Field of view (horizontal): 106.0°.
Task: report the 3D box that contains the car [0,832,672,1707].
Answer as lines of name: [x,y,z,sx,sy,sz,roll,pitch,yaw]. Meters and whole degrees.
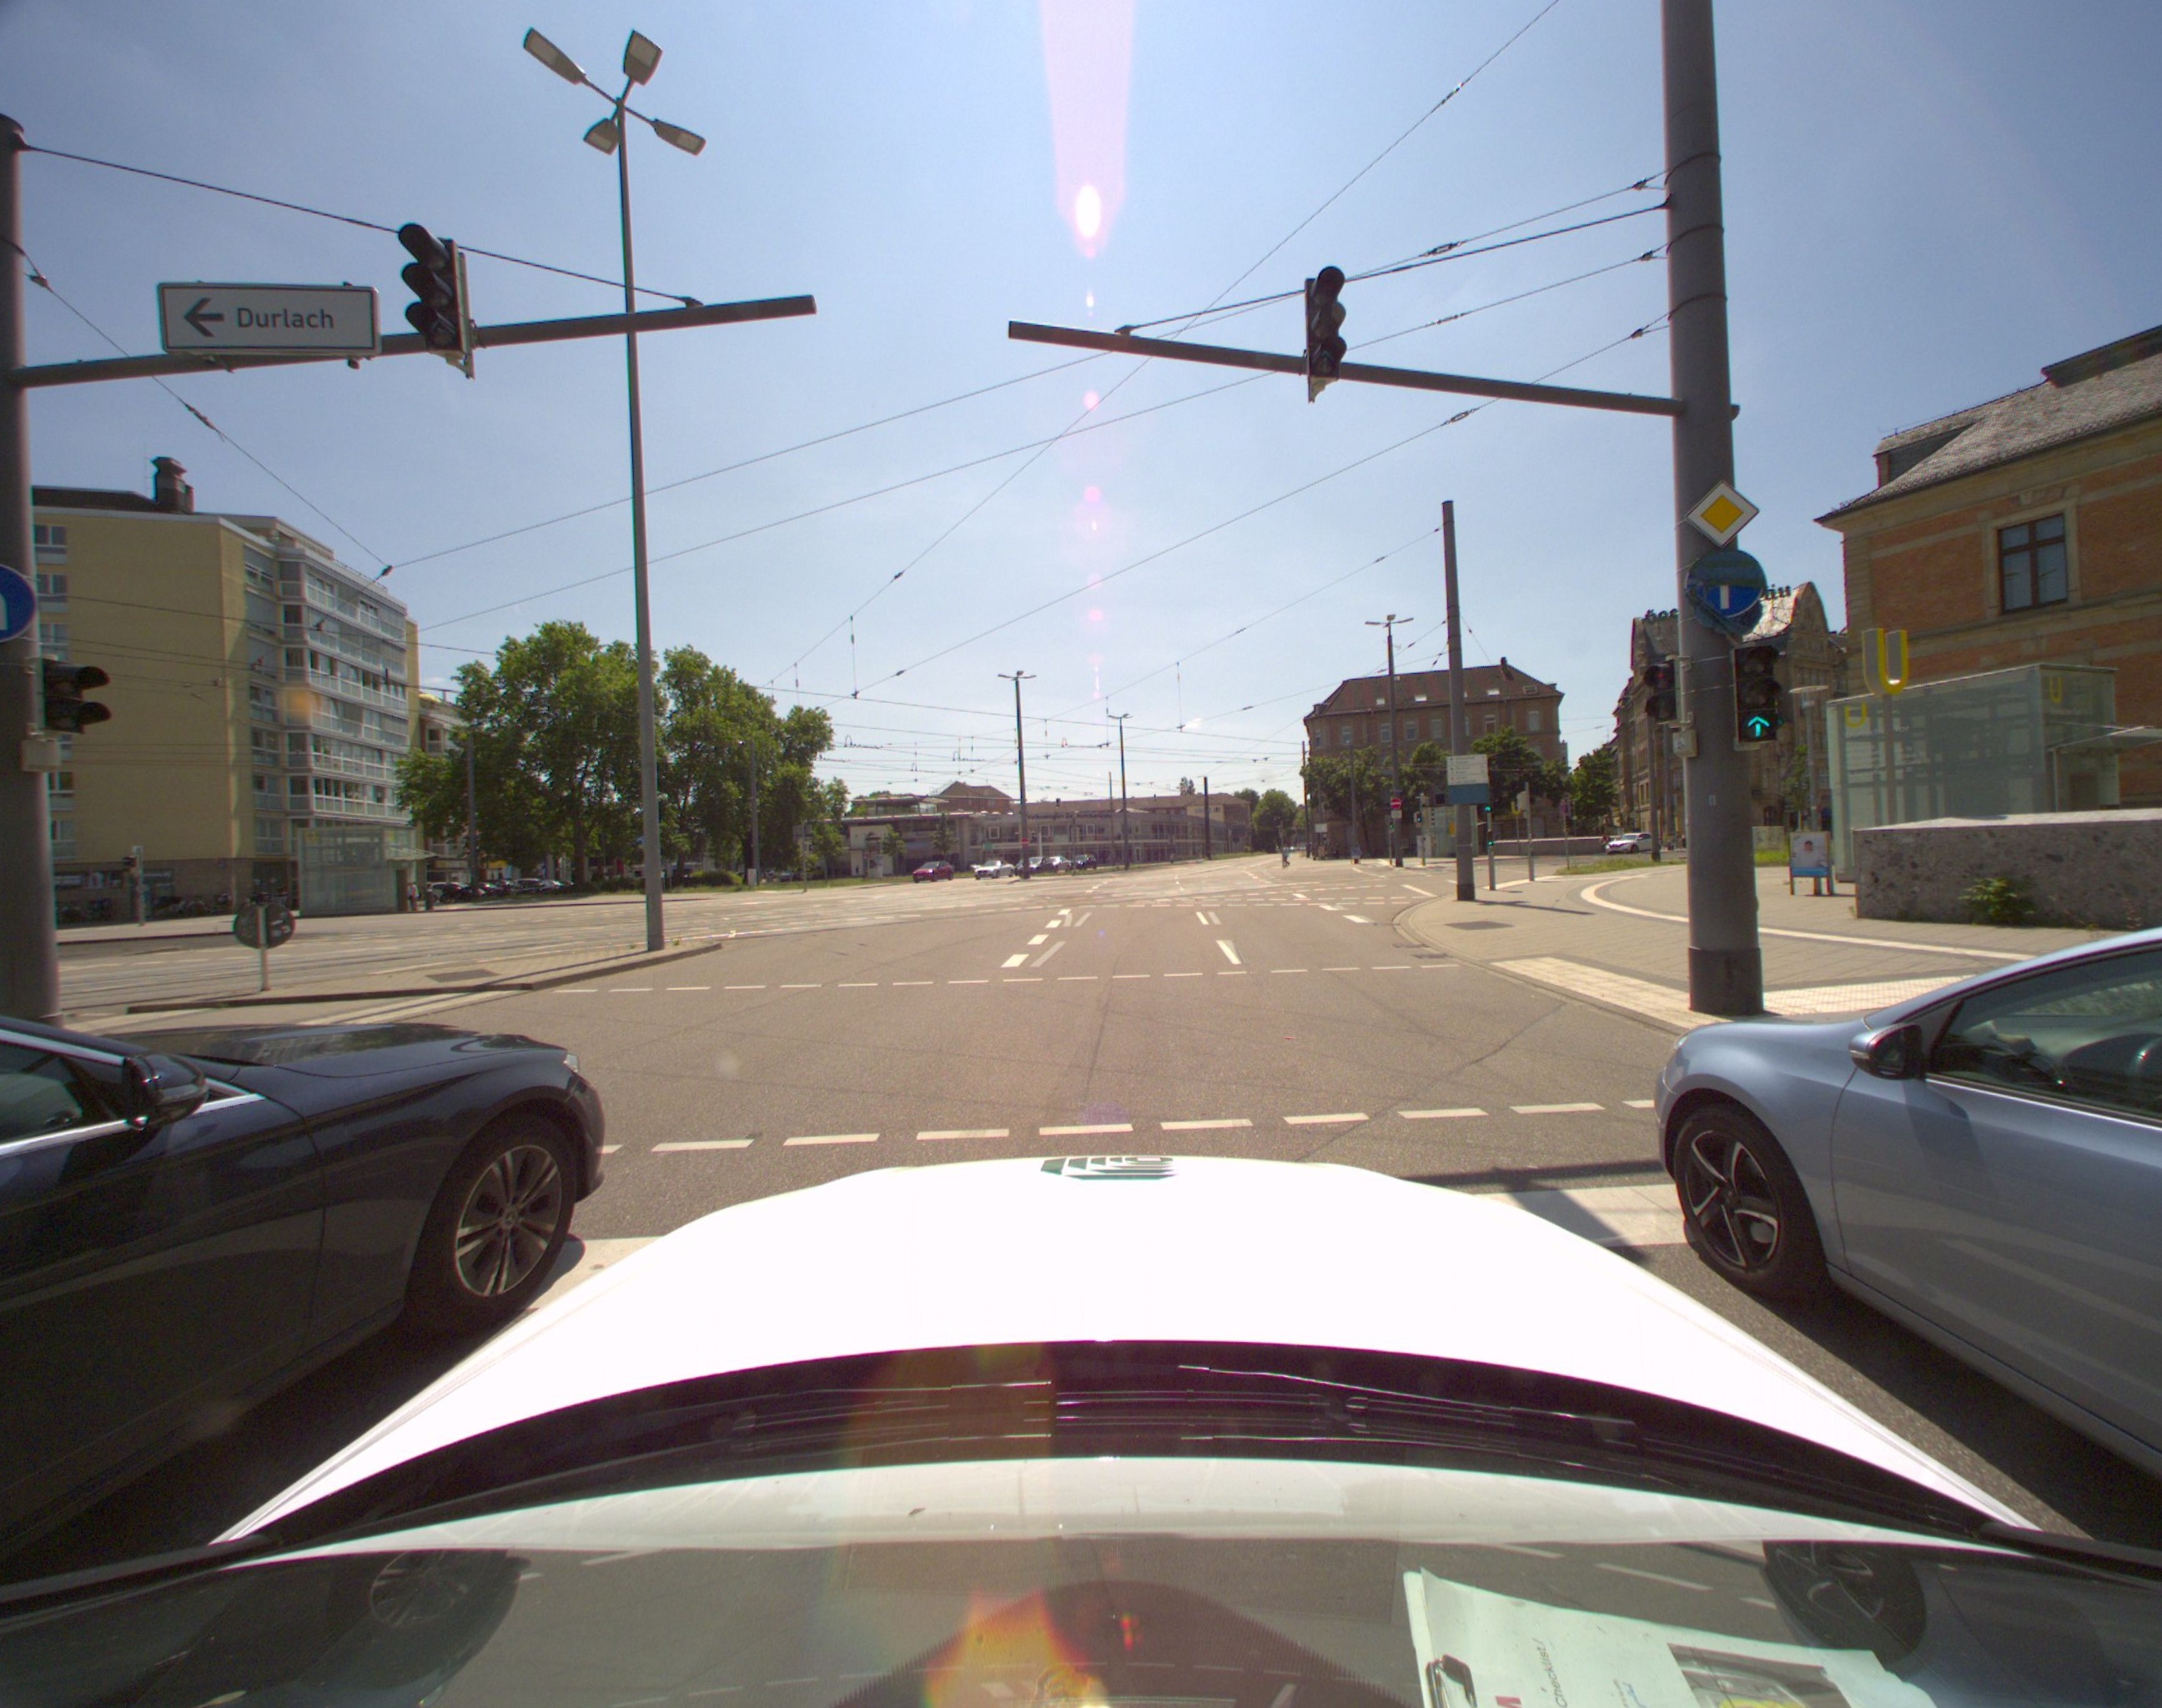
car: [-2.826,0.794,1.182,1.790,1.640,4.809,-1,0,3]

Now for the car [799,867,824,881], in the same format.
car: [-33.573,2.471,101.420,1.762,1.510,4.323,-2,0,-2]

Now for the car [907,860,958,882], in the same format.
car: [-11.713,1.319,64.617,1.978,1.465,4.867,-2,0,16]

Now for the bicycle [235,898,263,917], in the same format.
bicycle: [-48.634,3.134,47.632,0.432,1.026,1.437,-2,0,-13]

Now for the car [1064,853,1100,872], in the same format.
car: [0.132,0.847,82.143,2.061,1.682,4.870,-2,0,20]

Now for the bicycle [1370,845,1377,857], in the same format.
bicycle: [27.466,-0.270,76.600,0.546,1.120,1.829,-2,0,19]

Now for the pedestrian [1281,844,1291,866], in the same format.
pedestrian: [15.880,0.088,63.155,0.462,1.708,0.636,-2,0,-18]

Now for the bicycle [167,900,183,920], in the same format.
bicycle: [-50.612,3.114,45.495,0.435,1.026,1.426,-2,0,-41]

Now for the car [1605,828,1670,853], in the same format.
car: [39.498,-0.941,57.808,4.196,1.605,1.682,-2,0,-22]

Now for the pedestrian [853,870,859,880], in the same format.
pedestrian: [-26.891,2.480,97.448,0.510,1.204,0.446,-2,0,8]

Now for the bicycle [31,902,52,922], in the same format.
bicycle: [-56.319,3.136,44.126,0.435,1.026,1.426,-2,0,-41]

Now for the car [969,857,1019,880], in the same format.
car: [-6.707,1.081,63.446,2.061,1.580,4.867,-2,0,16]

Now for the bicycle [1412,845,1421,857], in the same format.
bicycle: [31.507,-0.282,76.508,0.546,1.120,1.939,-2,0,19]

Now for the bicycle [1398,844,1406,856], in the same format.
bicycle: [30.152,-0.414,76.581,0.546,1.120,1.879,-2,0,19]

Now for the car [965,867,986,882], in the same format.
car: [-12.915,2.504,99.778,1.912,1.707,4.003,0,-1,3]

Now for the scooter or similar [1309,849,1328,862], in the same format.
scooter or similar: [23.375,0.112,80.150,1.790,1.181,0.596,-2,0,-17]

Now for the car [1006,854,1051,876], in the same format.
car: [-4.408,0.887,69.493,1.977,1.700,4.870,-2,0,20]

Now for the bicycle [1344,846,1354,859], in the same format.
bicycle: [25.248,-0.149,76.836,0.548,1.120,1.825,-2,0,9]

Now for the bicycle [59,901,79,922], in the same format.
bicycle: [-55.311,3.134,44.508,0.435,1.026,1.426,-2,0,-41]

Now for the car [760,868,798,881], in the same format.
car: [-39.864,2.735,107.596,4.343,1.510,1.754,-2,0,-33]

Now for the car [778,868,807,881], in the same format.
car: [-36.079,2.540,102.004,1.759,1.510,4.331,-2,0,3]

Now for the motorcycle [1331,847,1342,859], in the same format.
motorcycle: [24.163,-0.066,77.137,0.577,1.074,1.949,-2,0,6]

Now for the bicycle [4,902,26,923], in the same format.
bicycle: [-57.268,3.137,43.744,0.435,1.026,1.426,-2,0,-41]

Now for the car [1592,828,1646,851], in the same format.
car: [41.751,-1.103,63.237,3.655,1.605,1.682,-2,0,-22]

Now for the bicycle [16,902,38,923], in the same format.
bicycle: [-56.811,3.136,43.897,0.435,1.026,1.426,-2,0,-41]

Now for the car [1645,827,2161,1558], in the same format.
car: [2.945,0.664,1.163,1.644,1.459,4.006,-1,0,3]

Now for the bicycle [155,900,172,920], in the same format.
bicycle: [-51.079,3.115,45.332,0.435,1.026,1.426,-2,0,-41]

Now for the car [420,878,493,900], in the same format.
car: [-48.138,2.702,62.883,4.003,1.420,1.985,-2,0,-22]

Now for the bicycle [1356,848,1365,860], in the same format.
bicycle: [26.395,0.022,76.865,0.440,1.146,2.099,-1,-1,9]

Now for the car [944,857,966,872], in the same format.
car: [-15.406,1.282,99.857,1.912,1.707,4.003,0,-1,3]

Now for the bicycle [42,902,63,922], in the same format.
bicycle: [-55.812,3.133,44.194,0.435,1.026,1.426,-2,0,-41]

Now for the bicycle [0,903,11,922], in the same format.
bicycle: [-57.869,3.139,43.601,0.435,1.026,1.426,-2,0,-41]

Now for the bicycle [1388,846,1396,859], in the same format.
bicycle: [29.128,-0.164,76.216,0.546,1.120,1.898,-2,0,19]

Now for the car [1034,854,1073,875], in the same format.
car: [-2.521,0.944,75.374,1.977,1.739,4.566,-2,0,20]

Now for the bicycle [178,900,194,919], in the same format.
bicycle: [-50.187,3.114,45.677,0.435,1.026,1.426,-2,0,-41]

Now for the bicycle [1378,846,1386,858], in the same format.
bicycle: [28.178,-0.164,76.278,0.546,1.120,1.829,-2,0,19]

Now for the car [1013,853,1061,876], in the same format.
car: [-3.395,0.784,63.621,1.977,1.637,4.870,-2,0,20]

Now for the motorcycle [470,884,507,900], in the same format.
motorcycle: [-39.280,2.506,54.030,1.925,0.961,0.521,-2,0,-28]
